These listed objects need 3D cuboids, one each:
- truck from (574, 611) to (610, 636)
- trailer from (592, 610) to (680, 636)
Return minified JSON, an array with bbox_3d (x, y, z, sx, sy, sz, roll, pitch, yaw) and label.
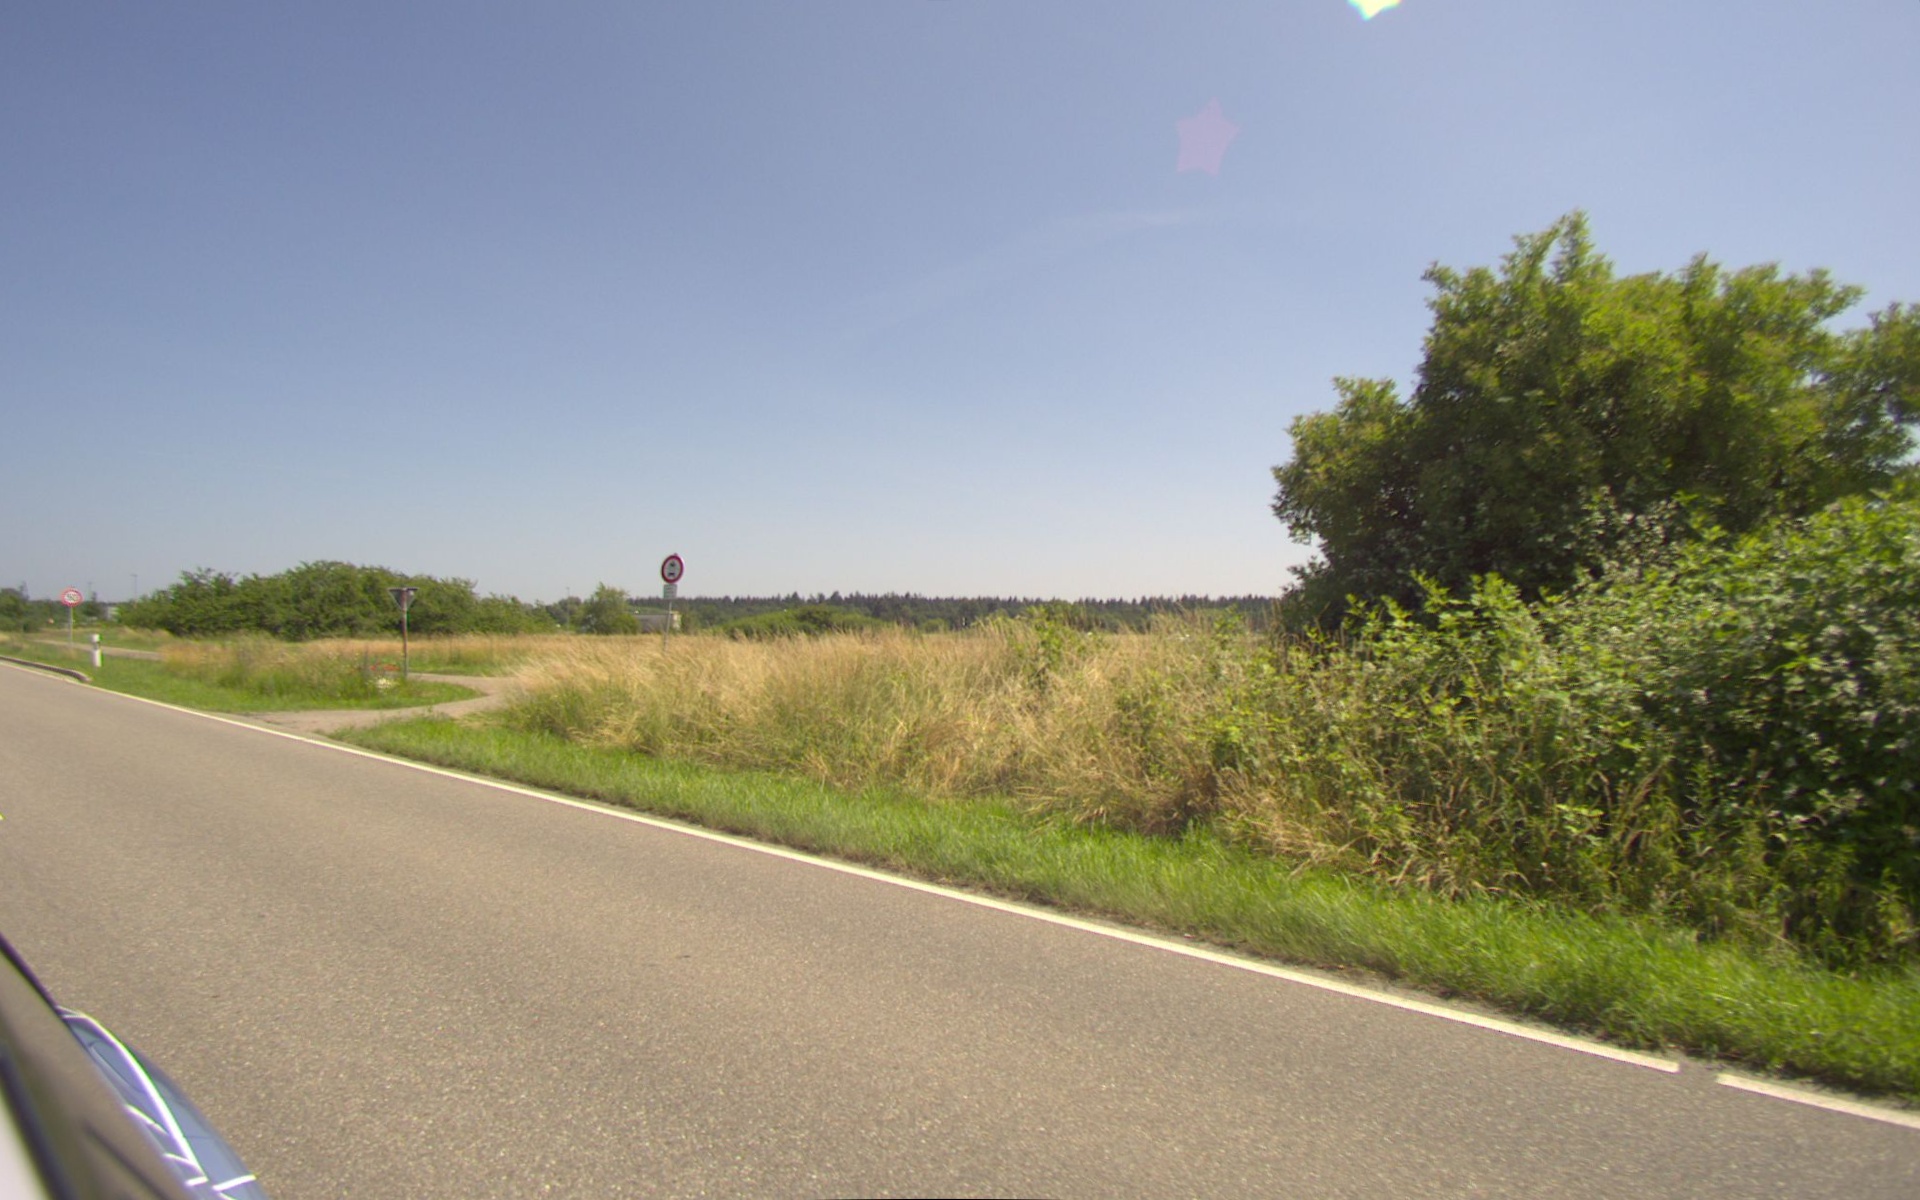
[{"bbox_3d":[-58.623,3.687,161.148,4.729,3.964,2.633,0,-2,12],"label":"truck"},{"bbox_3d":[-51.086,3.654,159.437,13.738,3.964,2.633,0,-2,12],"label":"trailer"}]
